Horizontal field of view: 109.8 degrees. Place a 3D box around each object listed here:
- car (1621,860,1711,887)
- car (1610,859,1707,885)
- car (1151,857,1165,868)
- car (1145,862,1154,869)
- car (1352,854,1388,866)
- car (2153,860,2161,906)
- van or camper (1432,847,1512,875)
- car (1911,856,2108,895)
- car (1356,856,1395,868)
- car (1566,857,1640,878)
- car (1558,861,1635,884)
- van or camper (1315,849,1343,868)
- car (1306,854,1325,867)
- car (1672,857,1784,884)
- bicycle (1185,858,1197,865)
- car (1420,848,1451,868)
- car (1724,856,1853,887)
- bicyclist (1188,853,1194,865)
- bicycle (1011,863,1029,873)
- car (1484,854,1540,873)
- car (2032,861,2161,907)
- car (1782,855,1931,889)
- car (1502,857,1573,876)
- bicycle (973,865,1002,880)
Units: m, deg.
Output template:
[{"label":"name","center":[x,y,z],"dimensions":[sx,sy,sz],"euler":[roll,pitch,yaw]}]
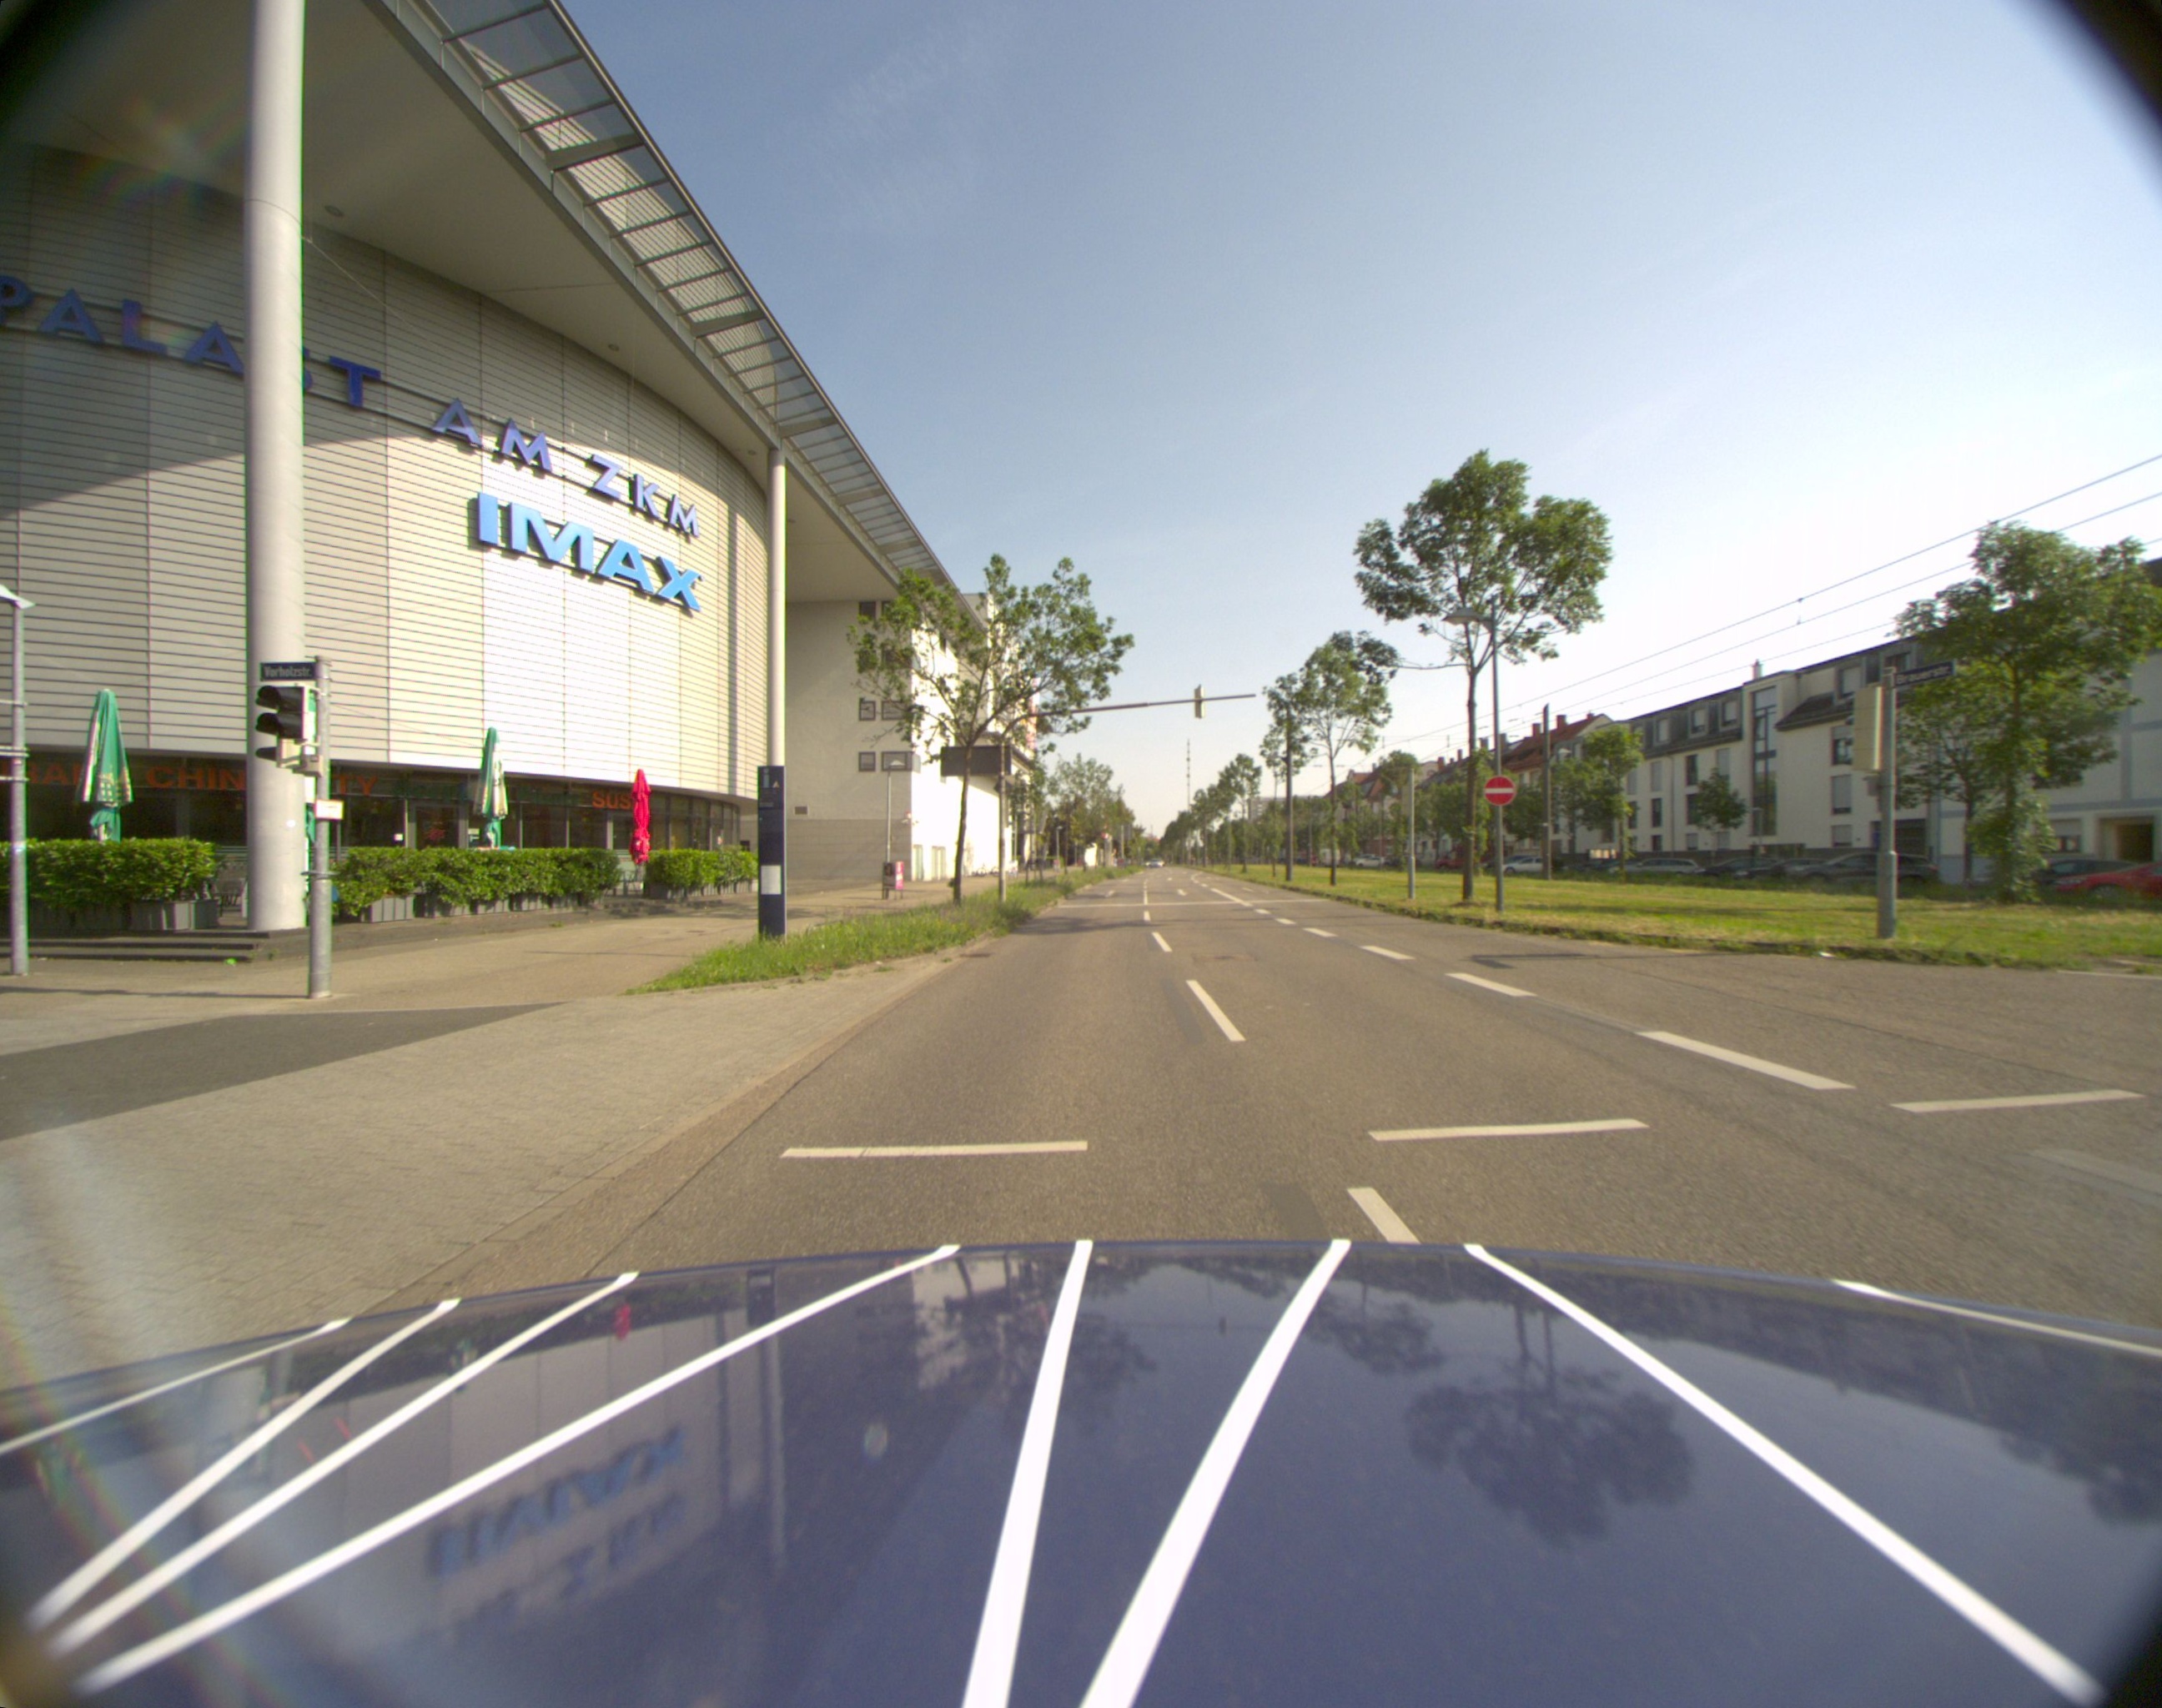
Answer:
[{"label":"car","center":[32.630,1.093,42.491],"dimensions":[3.771,1.368,1.668],"euler":[-2,0,31]},{"label":"car","center":[33.915,1.073,44.768],"dimensions":[4.328,1.368,2.004],"euler":[-2,0,31]},{"label":"car","center":[11.538,1.286,113.666],"dimensions":[1.998,1.652,4.002],"euler":[0,-1,5]},{"label":"car","center":[16.342,2.638,181.302],"dimensions":[1.998,1.652,4.002],"euler":[0,-1,5]},{"label":"car","center":[38.921,0.834,102.337],"dimensions":[4.088,1.520,1.817],"euler":[-2,0,42]},{"label":"car","center":[31.236,0.747,19.437],"dimensions":[3.989,1.262,1.890],"euler":[-2,0,35]},{"label":"van or camper","center":[36.337,0.686,70.675],"dimensions":[6.144,2.531,2.419],"euler":[-1,-1,42]},{"label":"car","center":[31.532,0.751,26.006],"dimensions":[3.989,1.227,1.703],"euler":[-2,0,38]},{"label":"car","center":[38.569,1.063,99.618],"dimensions":[4.355,1.466,1.861],"euler":[-2,-1,42]},{"label":"car","center":[34.832,0.893,50.819],"dimensions":[3.989,1.368,1.839],"euler":[0,0,32]},{"label":"car","center":[33.142,1.175,48.978],"dimensions":[3.989,1.368,1.931],"euler":[-2,0,32]},{"label":"van or camper","center":[33.221,0.584,101.845],"dimensions":[2.146,2.459,6.061],"euler":[1,0,5]},{"label":"car","center":[33.743,0.912,109.322],"dimensions":[1.819,1.727,4.163],"euler":[0,0,6]},{"label":"car","center":[32.475,0.820,38.309],"dimensions":[3.989,1.280,2.004],"euler":[0,0,31]},{"label":"bicycle","center":[16.770,1.156,115.693],"dimensions":[1.749,1.139,0.577],"euler":[0,0,15]},{"label":"car","center":[45.289,0.482,97.187],"dimensions":[1.997,2.448,5.581],"euler":[0,0,6]},{"label":"car","center":[32.402,0.796,34.960],"dimensions":[3.989,1.280,2.004],"euler":[-2,0,31]},{"label":"bicyclist","center":[16.774,0.822,115.697],"dimensions":[0.869,1.812,0.909],"euler":[0,0,15]},{"label":"bicycle","center":[-5.711,1.318,71.515],"dimensions":[1.660,0.910,0.483],"euler":[0,0,5]},{"label":"car","center":[34.763,0.783,61.322],"dimensions":[3.711,1.426,1.645],"euler":[-2,-1,38]},{"label":"car","center":[31.539,0.873,22.409],"dimensions":[3.989,1.251,1.880],"euler":[-2,0,38]},{"label":"car","center":[32.583,0.769,32.104],"dimensions":[4.049,1.280,2.004],"euler":[-2,0,32]},{"label":"car","center":[34.782,0.977,57.927],"dimensions":[4.387,1.312,1.737],"euler":[-2,-1,38]},{"label":"bicycle","center":[-6.998,1.395,56.752],"dimensions":[2.012,1.096,0.676],"euler":[-1,0,9]}]
